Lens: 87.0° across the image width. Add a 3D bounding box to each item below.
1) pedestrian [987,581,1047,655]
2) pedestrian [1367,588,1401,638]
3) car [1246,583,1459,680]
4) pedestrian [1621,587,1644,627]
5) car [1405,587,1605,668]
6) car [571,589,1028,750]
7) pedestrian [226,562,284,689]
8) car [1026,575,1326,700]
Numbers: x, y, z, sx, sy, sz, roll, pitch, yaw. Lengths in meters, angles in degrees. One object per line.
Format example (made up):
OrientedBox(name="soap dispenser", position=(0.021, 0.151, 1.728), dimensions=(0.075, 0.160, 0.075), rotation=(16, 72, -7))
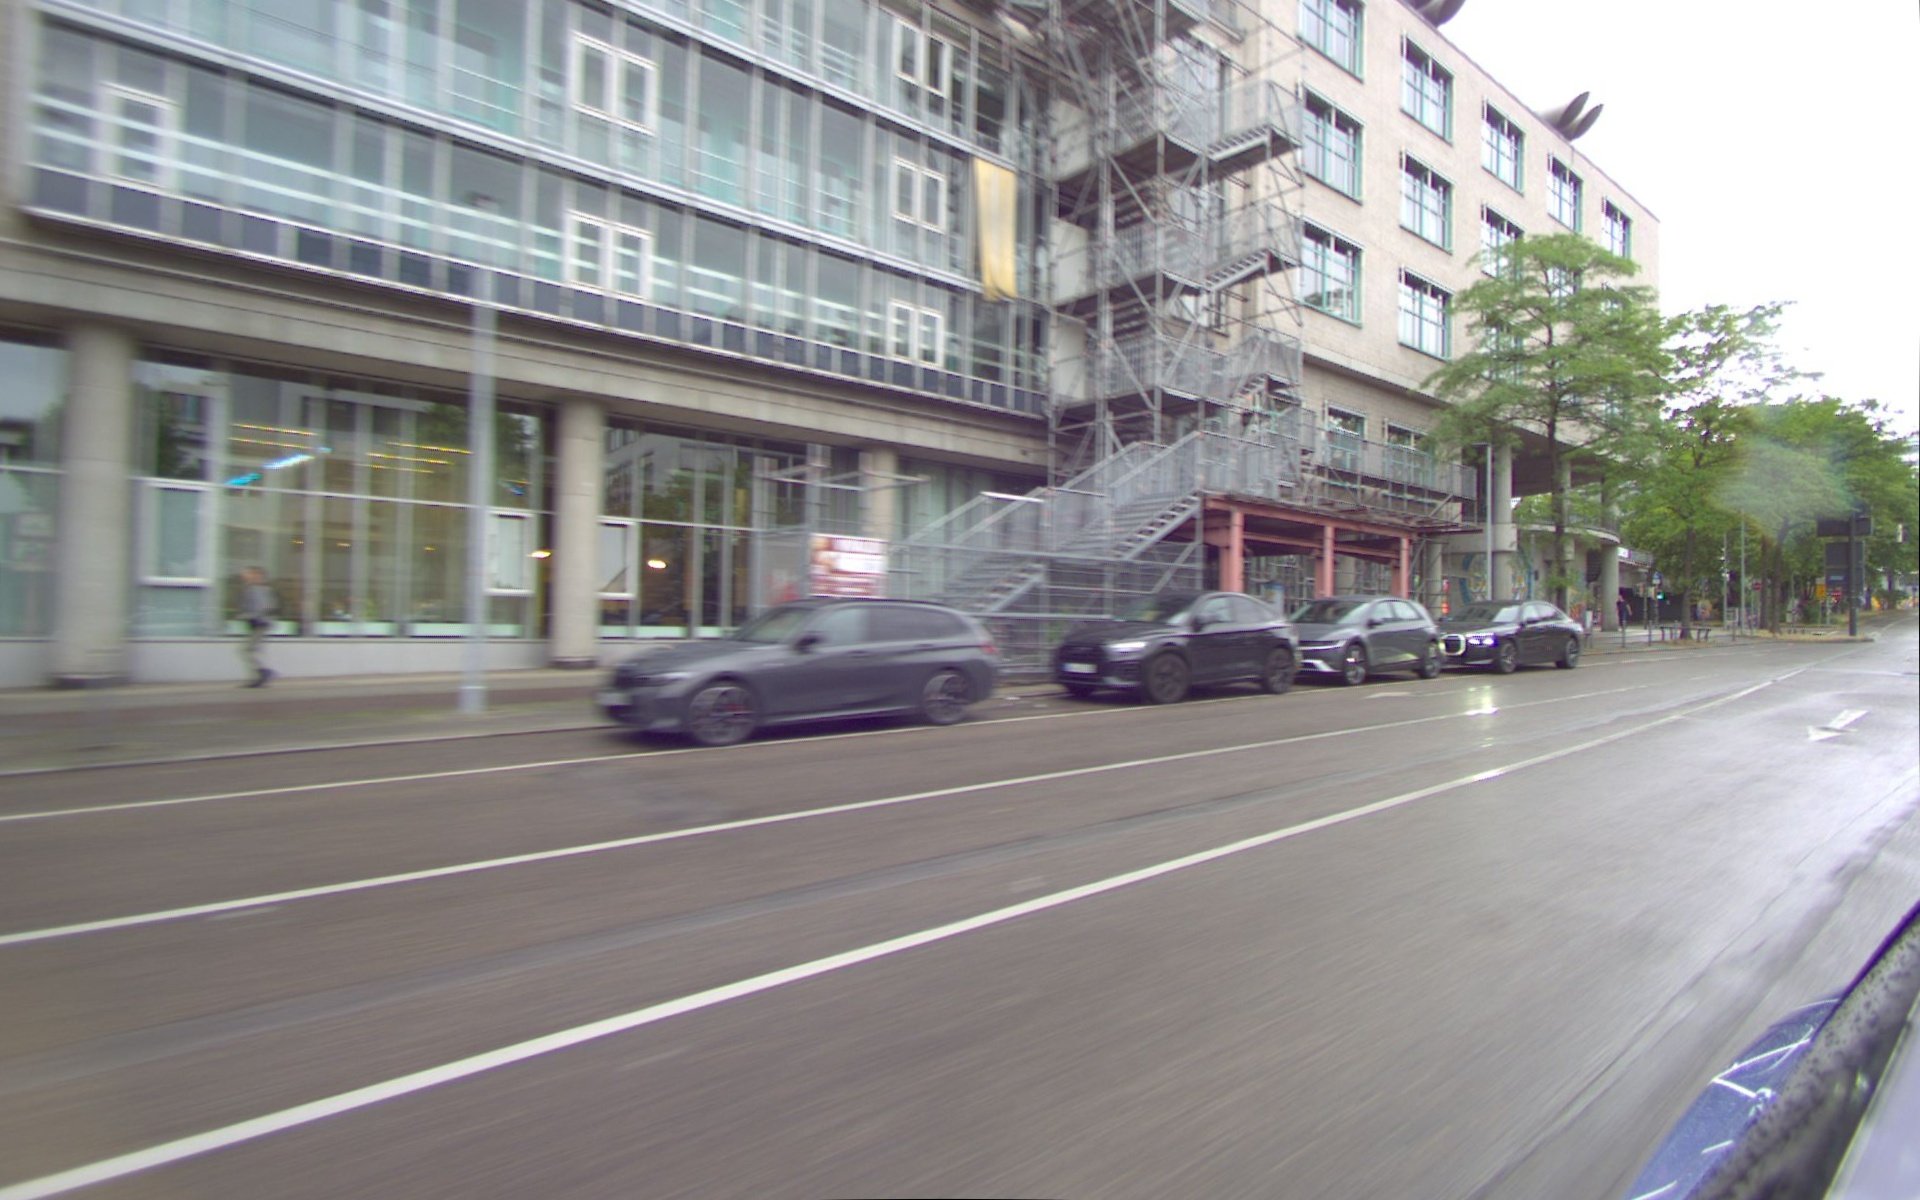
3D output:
OrientedBox(name="pedestrian", position=(1.265, 0.389, 22.567), dimensions=(0.818, 1.616, 1.095), rotation=(0, 0, 45))
OrientedBox(name="pedestrian", position=(13.760, 0.412, 32.829), dimensions=(0.908, 1.616, 0.704), rotation=(1, 0, -43))
OrientedBox(name="car", position=(7.508, 0.534, 19.157), dimensions=(4.512, 1.621, 1.865), rotation=(0, 0, -41))
OrientedBox(name="pedestrian", position=(34.606, 0.340, 52.084), dimensions=(0.746, 2.039, 0.869), rotation=(1, -1, -45))
OrientedBox(name="car", position=(12.237, 0.559, 22.574), dimensions=(5.191, 1.621, 1.999), rotation=(0, 0, -38))
OrientedBox(name="car", position=(-1.641, 0.637, 11.460), dimensions=(4.831, 1.455, 1.873), rotation=(0, 0, -39))
OrientedBox(name="pedestrian", position=(-10.145, 0.345, 14.559), dimensions=(0.641, 1.764, 0.678), rotation=(0, 0, -38))
OrientedBox(name="car", position=(3.472, 0.501, 15.753), dimensions=(4.774, 1.667, 1.998), rotation=(0, 0, -39))
